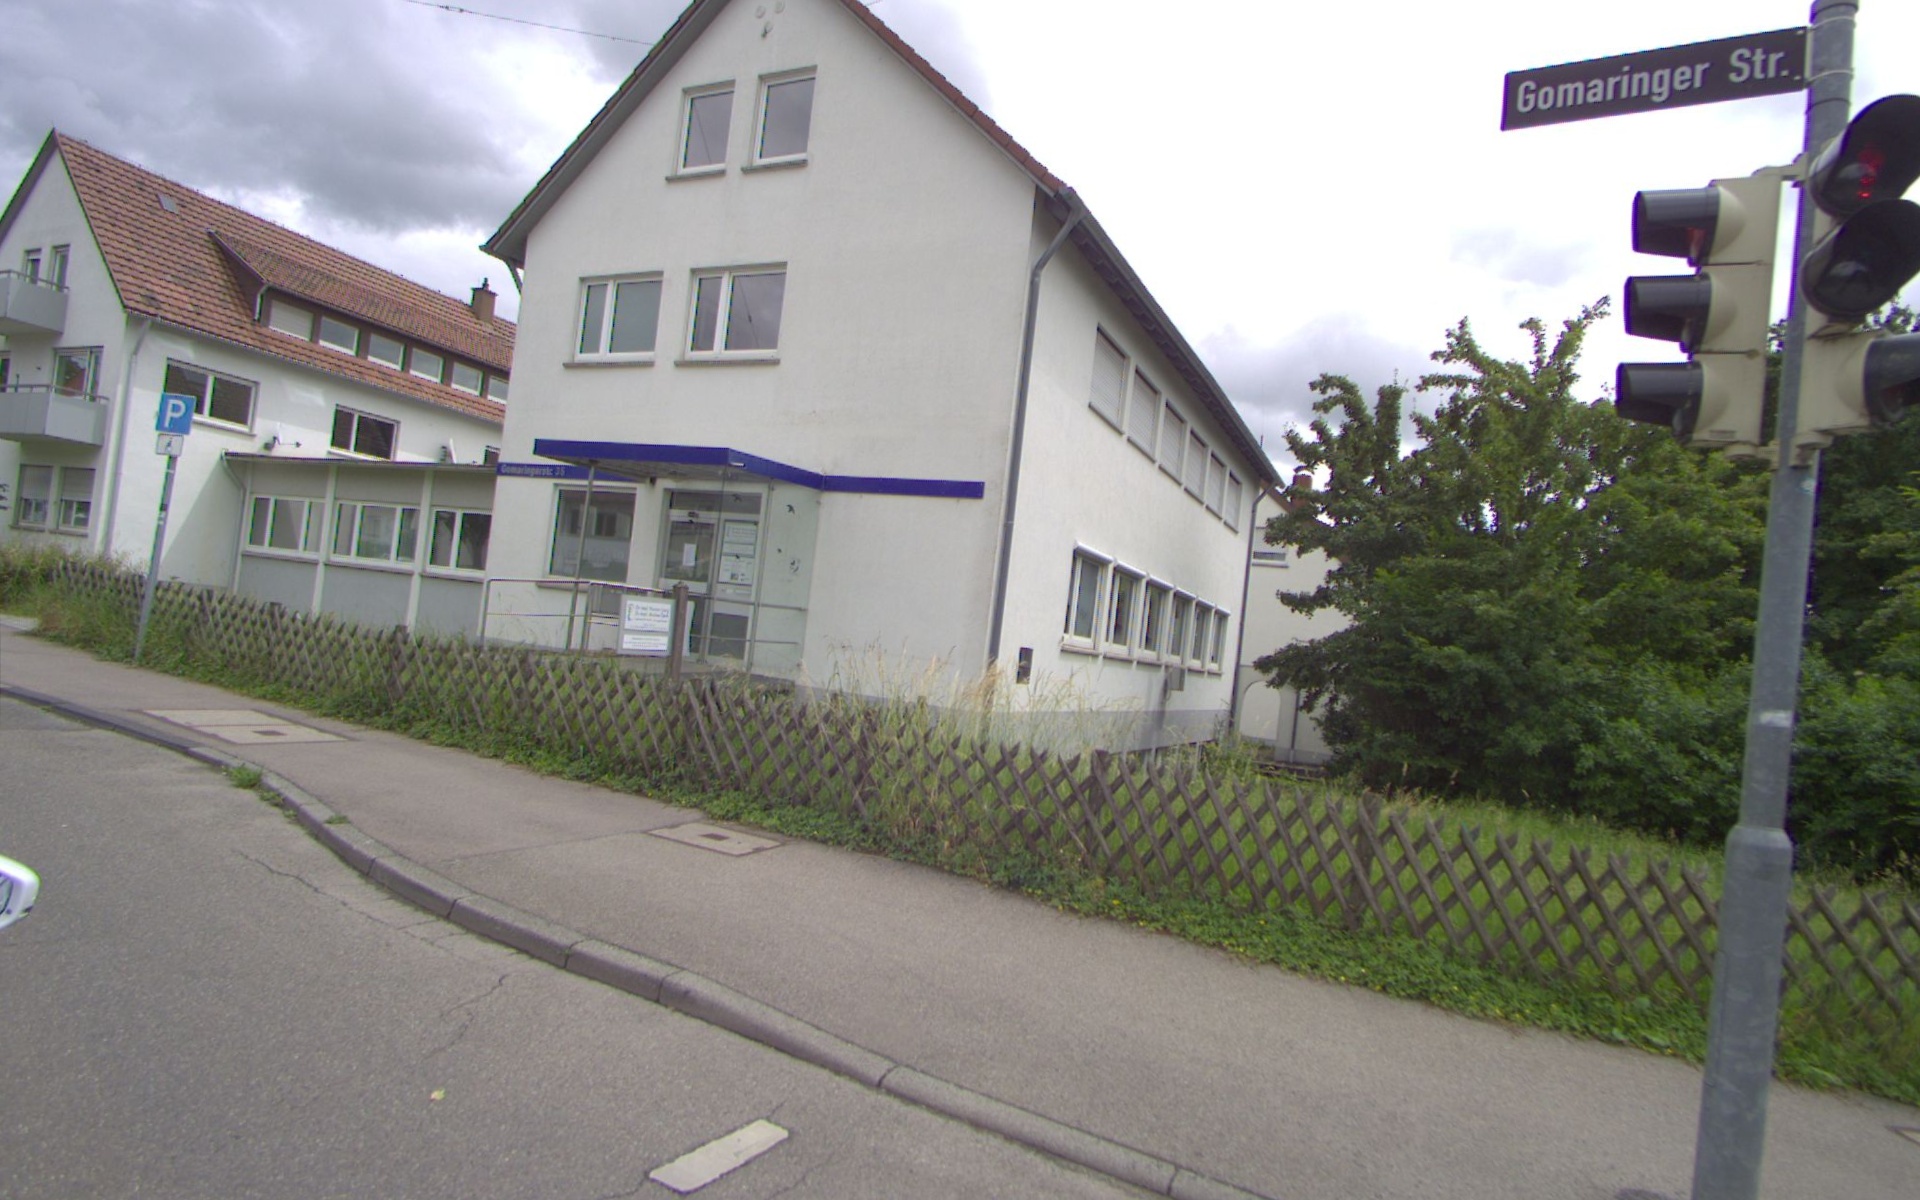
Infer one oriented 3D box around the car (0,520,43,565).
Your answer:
[{"bbox_3d":[-38.785,-2.471,39.497,1.655,1.580,3.718,6,-4,13],"label":"car"}]
